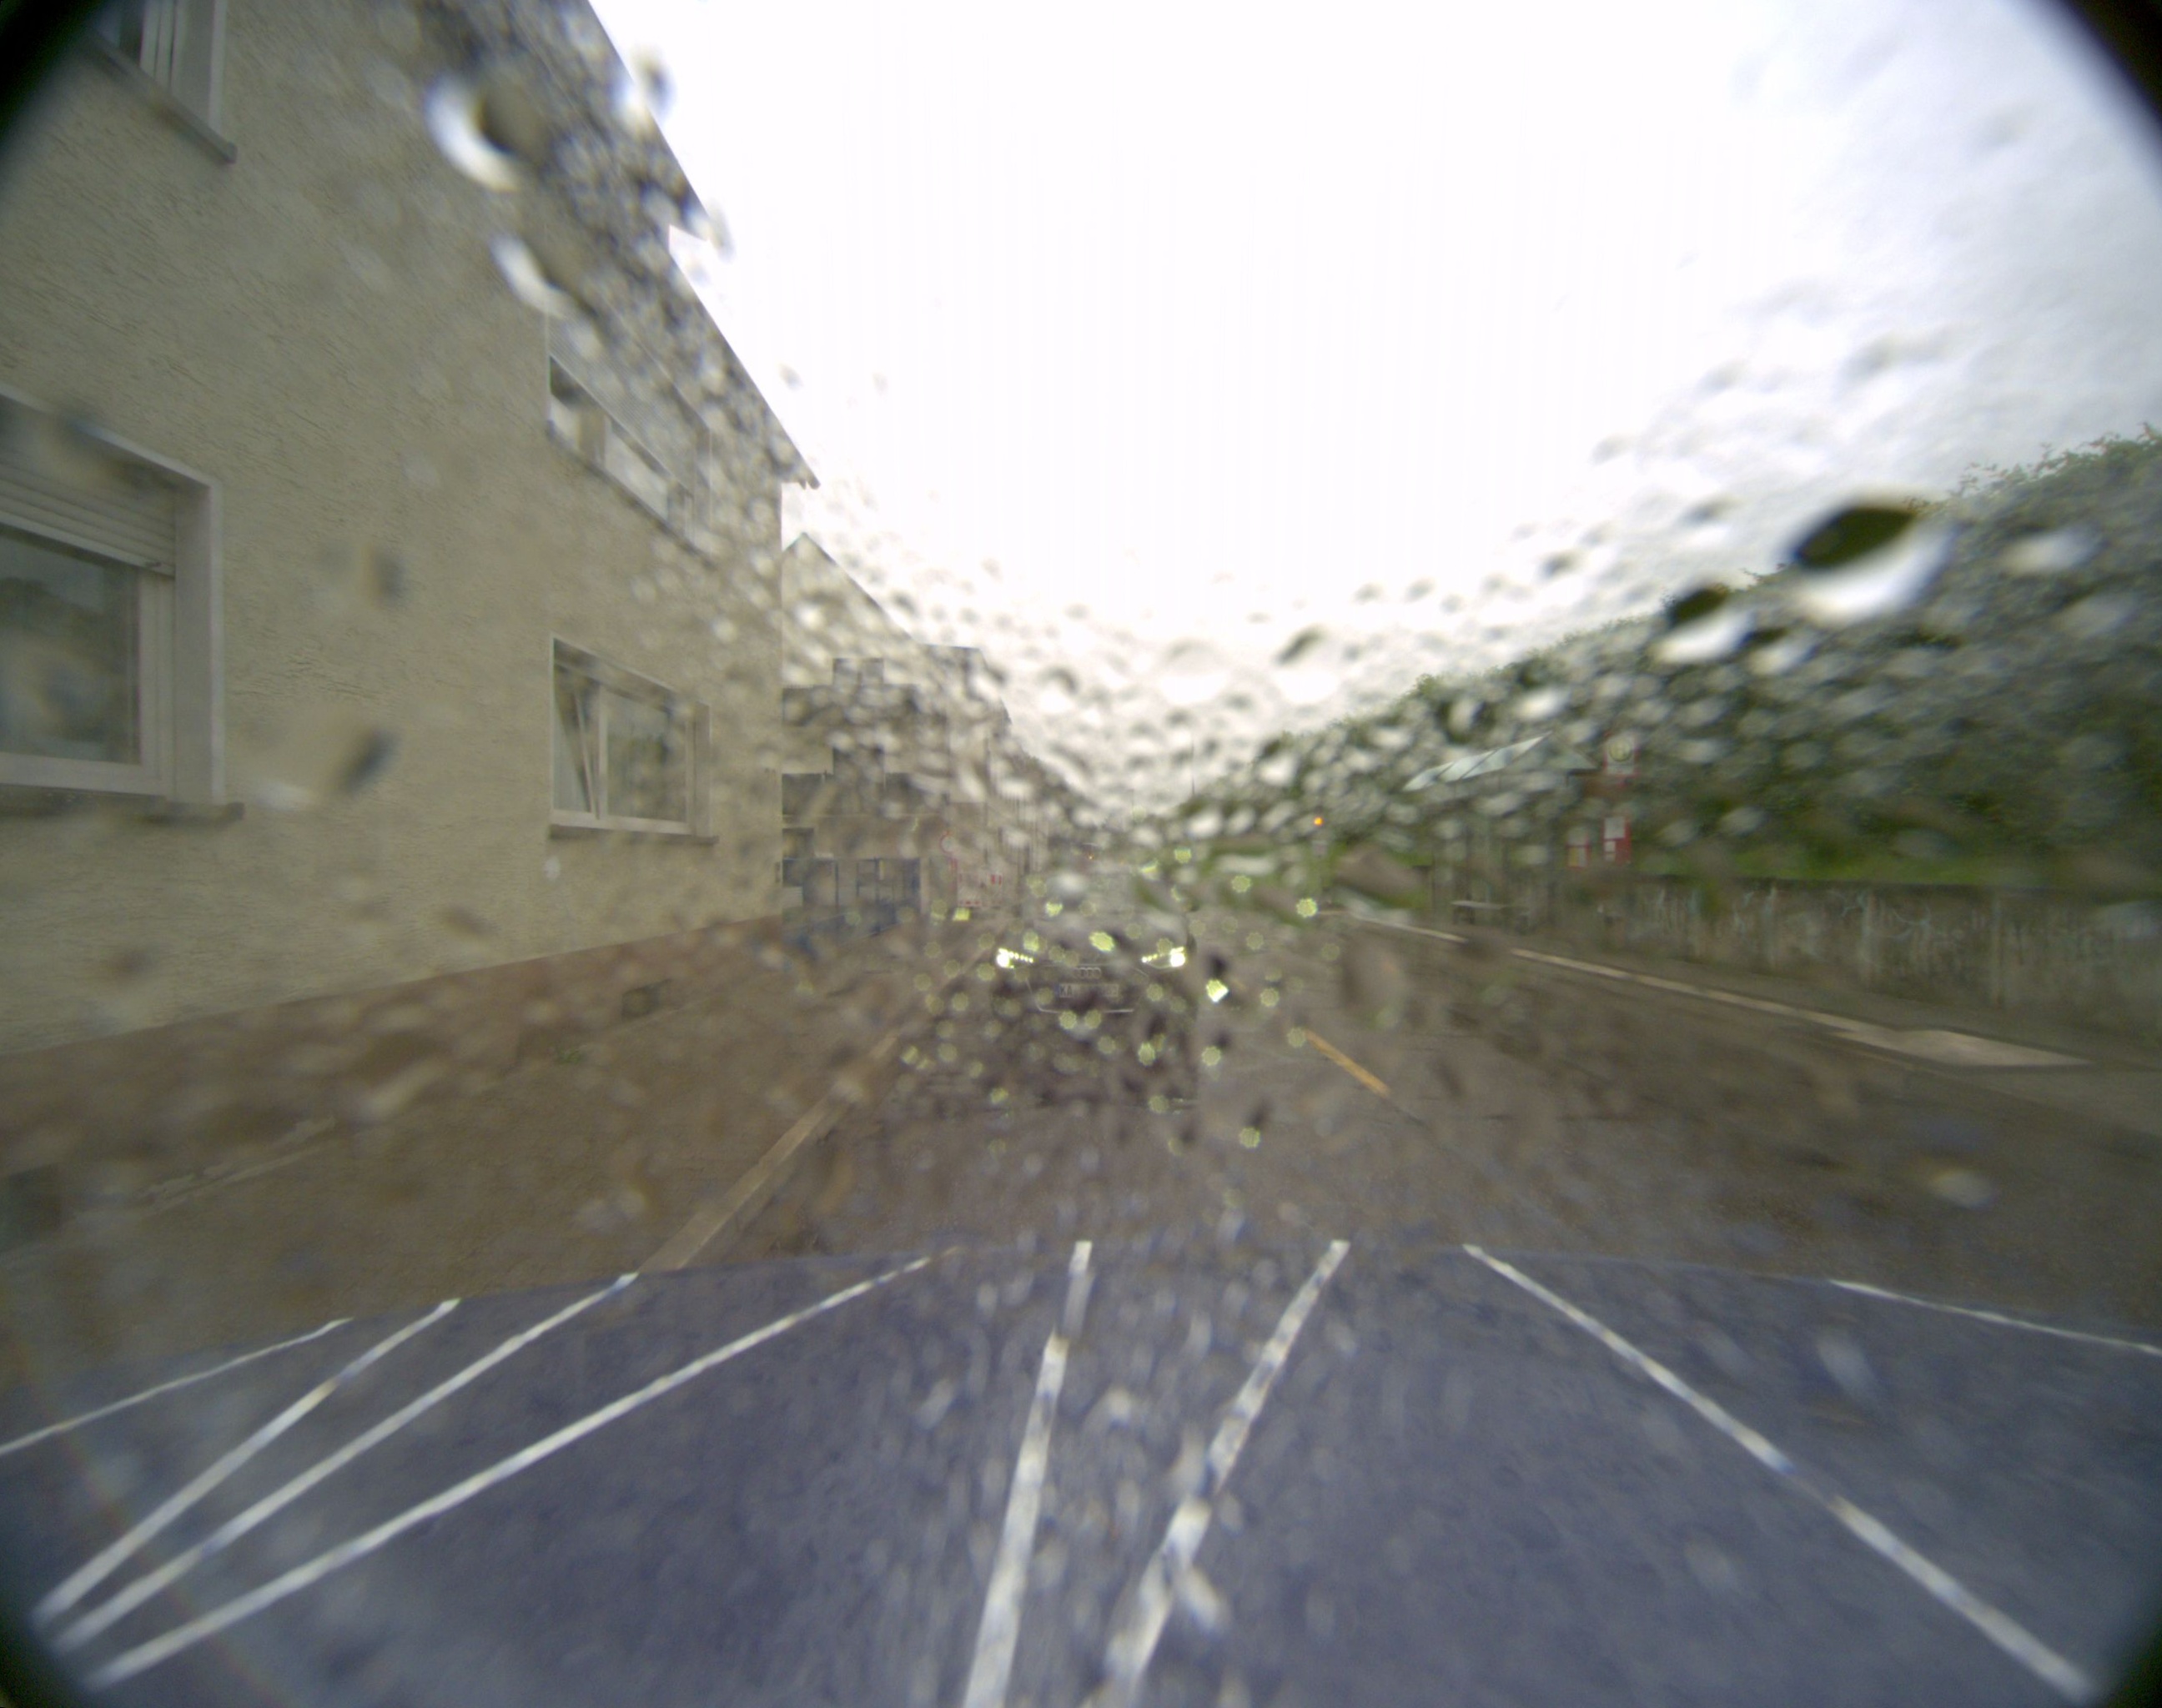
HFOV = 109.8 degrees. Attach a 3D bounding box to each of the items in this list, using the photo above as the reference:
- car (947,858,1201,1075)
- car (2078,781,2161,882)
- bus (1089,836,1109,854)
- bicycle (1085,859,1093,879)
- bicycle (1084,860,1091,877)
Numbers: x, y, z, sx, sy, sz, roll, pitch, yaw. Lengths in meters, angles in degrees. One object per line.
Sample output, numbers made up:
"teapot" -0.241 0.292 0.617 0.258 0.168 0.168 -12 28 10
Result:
"car" 0.214 0.823 7.790 1.850 1.444 4.534 1 1 7
"car" 15.718 -0.266 9.171 1.749 1.382 4.220 -2 3 -1
"bus" 3.414 -1.628 138.797 2.684 2.987 14.549 1 1 5
"bicycle" 0.485 0.894 45.559 0.407 1.137 1.221 1 1 1
"bicycle" 0.399 0.918 47.794 0.407 1.023 1.221 1 1 1
